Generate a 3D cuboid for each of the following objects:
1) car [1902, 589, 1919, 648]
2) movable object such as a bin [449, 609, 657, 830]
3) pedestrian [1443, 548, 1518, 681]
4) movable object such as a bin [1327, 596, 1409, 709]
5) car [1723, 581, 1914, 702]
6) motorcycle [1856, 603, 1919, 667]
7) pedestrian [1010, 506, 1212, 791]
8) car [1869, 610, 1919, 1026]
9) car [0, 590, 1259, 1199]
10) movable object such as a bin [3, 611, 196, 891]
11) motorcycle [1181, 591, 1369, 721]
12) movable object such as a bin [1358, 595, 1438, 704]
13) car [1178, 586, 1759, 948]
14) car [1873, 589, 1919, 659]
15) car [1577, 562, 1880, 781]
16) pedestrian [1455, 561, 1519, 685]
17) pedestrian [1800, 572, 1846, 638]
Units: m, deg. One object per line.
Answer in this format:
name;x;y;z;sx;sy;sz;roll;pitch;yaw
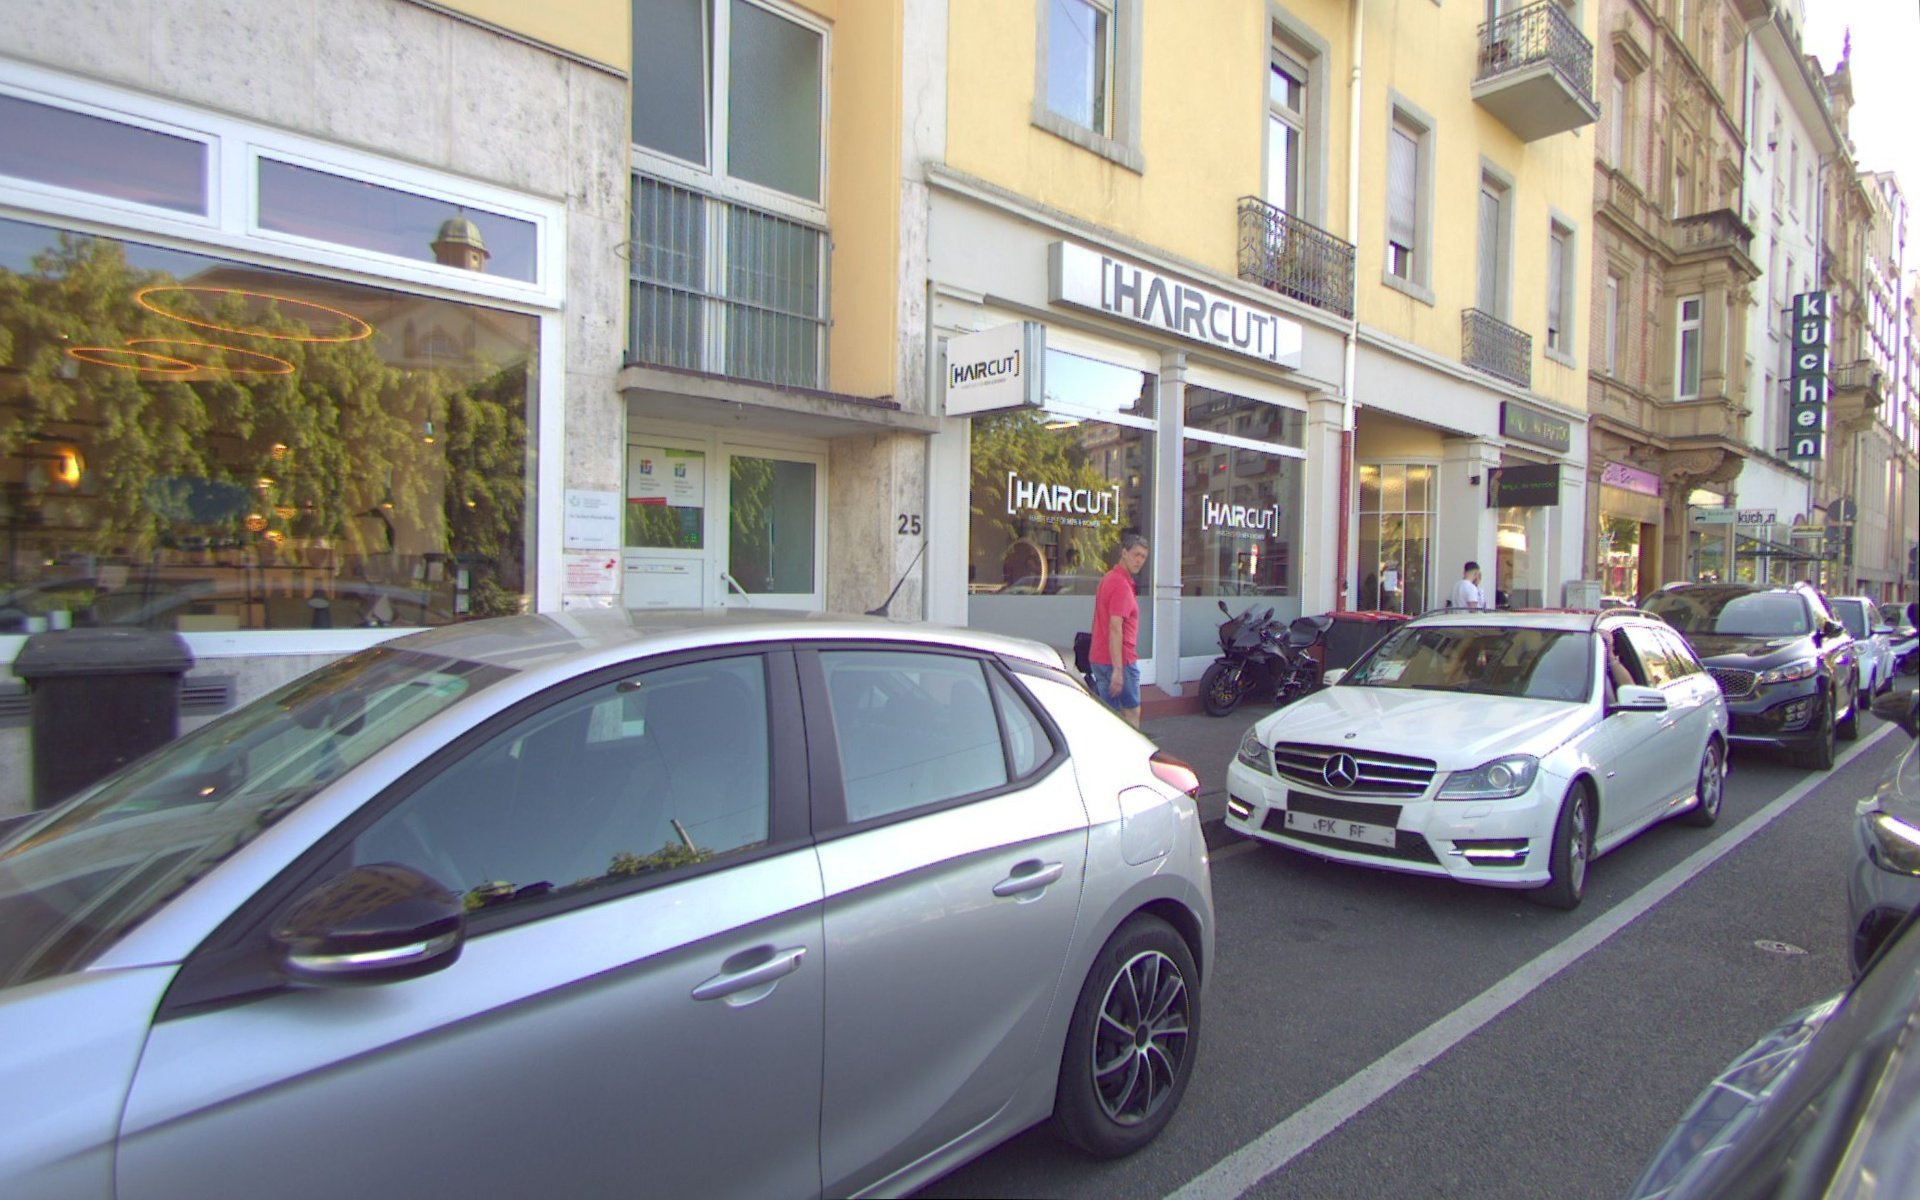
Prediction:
car;26.396;0.475;26.860;3.931;1.504;1.713;0;1;-42
movable object such as a bin;-2.256;0.599;5.604;0.878;1.066;0.752;0;1;-40
pedestrian;6.668;0.170;12.973;0.689;1.637;0.641;0;0;-42
movable object such as a bin;4.632;0.567;11.498;0.633;1.222;0.647;0;0;-40
car;12.688;0.523;14.918;2.965;1.587;1.695;0;1;-40
motorcycle;19.284;0.702;20.517;1.514;1.248;0.771;1;0;1
pedestrian;1.034;0.279;7.025;0.989;1.805;0.868;0;4;-32
car;5.345;0.752;4.271;4.183;1.396;1.846;0;1;-42
car;-1.035;0.696;2.317;3.642;1.415;1.652;0;1;-42
movable object such as a bin;-3.704;0.586;4.384;0.591;1.041;0.812;0;1;-40
motorcycle;3.317;0.518;10.525;2.208;1.179;0.773;0;4;-41
movable object such as a bin;5.142;0.560;11.887;0.633;1.222;0.647;0;0;-40
car;3.443;0.673;6.364;4.519;1.480;1.757;0;1;-42
car;22.212;0.523;23.055;3.931;1.504;1.713;0;1;-42
car;7.935;0.531;10.259;1.853;1.719;4.623;1;1;45
pedestrian;7.207;0.300;13.846;0.631;1.637;0.572;0;0;-40
pedestrian;21.872;0.124;25.658;0.750;1.637;0.794;0;1;-43
